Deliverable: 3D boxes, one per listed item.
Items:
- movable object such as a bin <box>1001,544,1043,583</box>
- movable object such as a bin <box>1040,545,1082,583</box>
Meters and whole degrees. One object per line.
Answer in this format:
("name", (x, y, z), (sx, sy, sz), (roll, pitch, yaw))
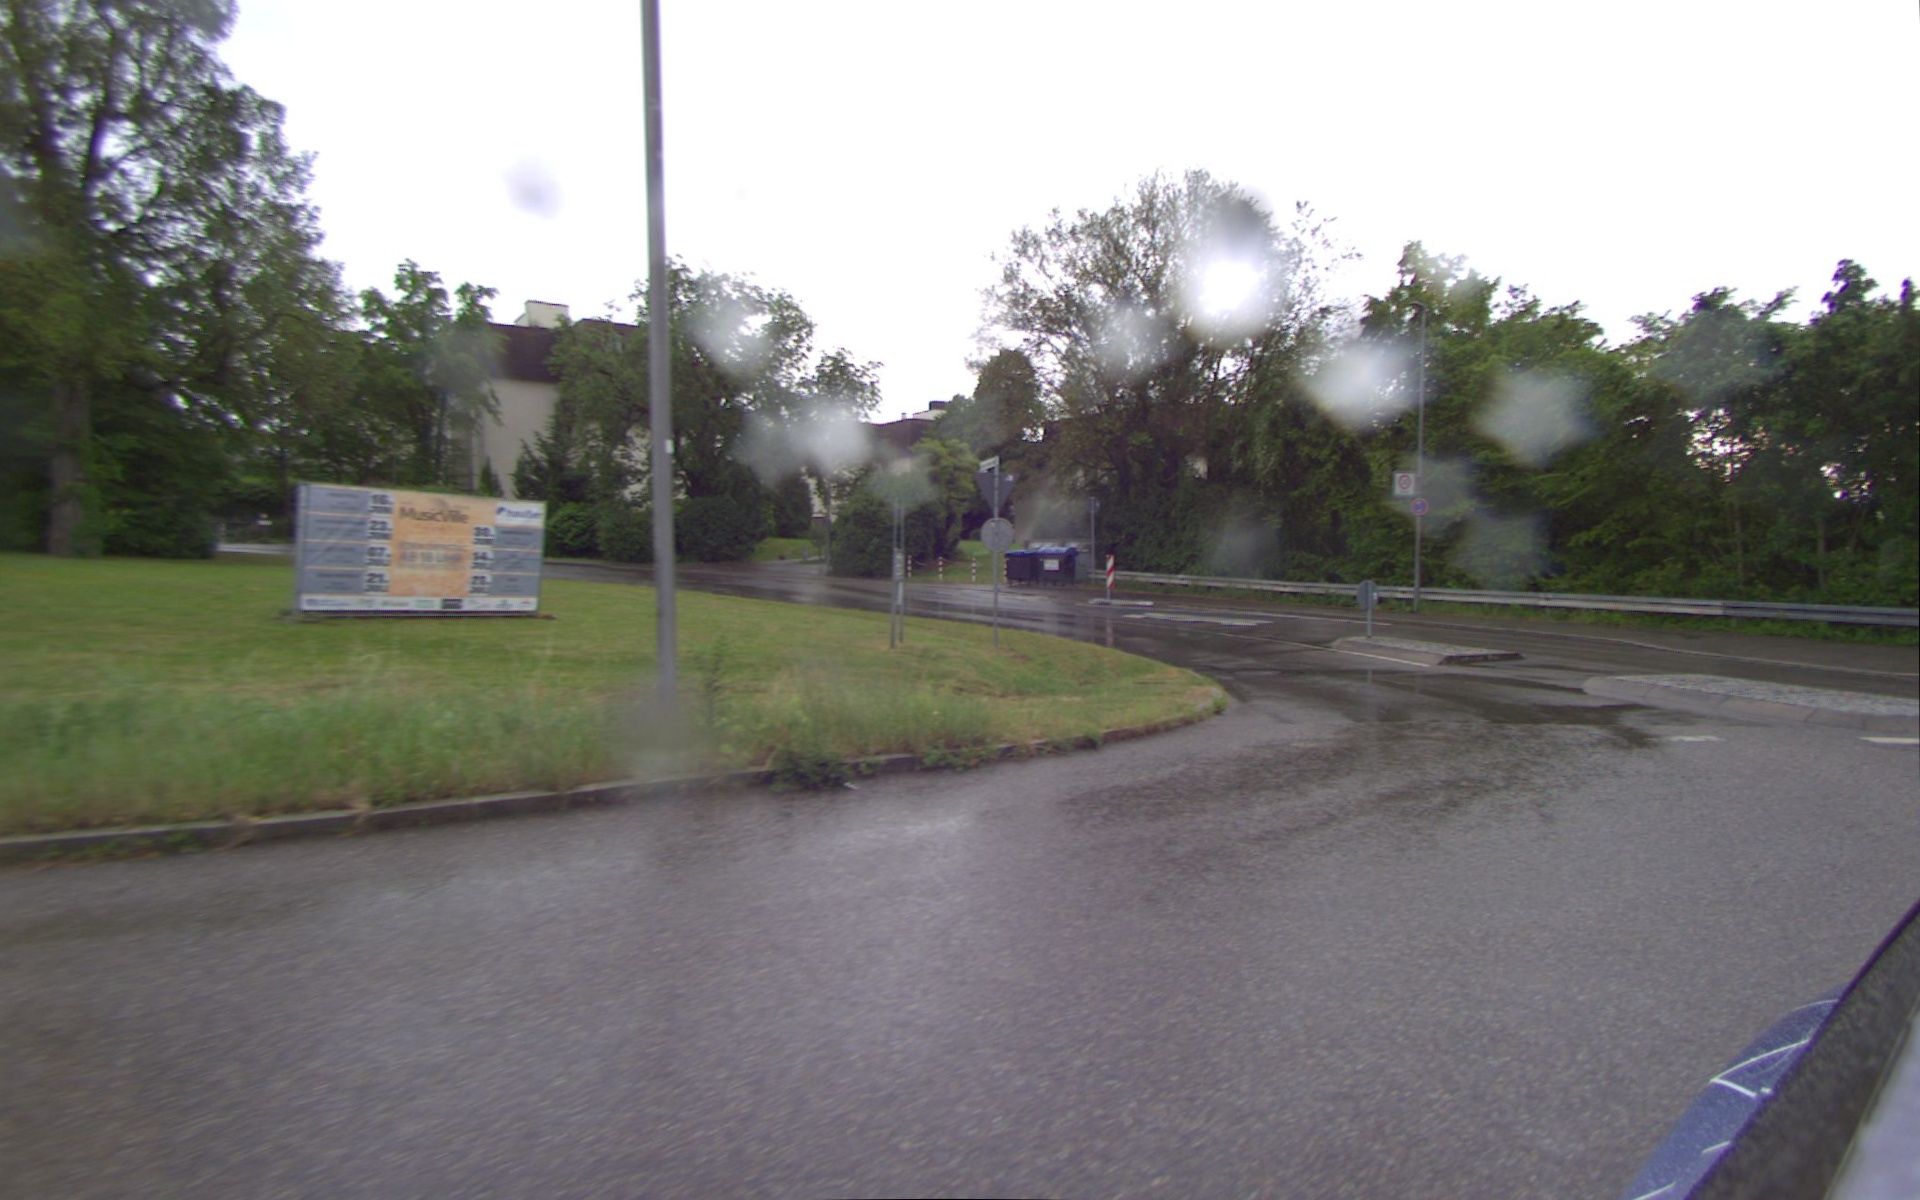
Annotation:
("movable object such as a bin", (2.367, -1.383, 38.413), (1.072, 1.454, 1.179), (3, 3, 44))
("movable object such as a bin", (3.763, -1.358, 37.684), (1.072, 1.357, 1.180), (3, 6, 43))
